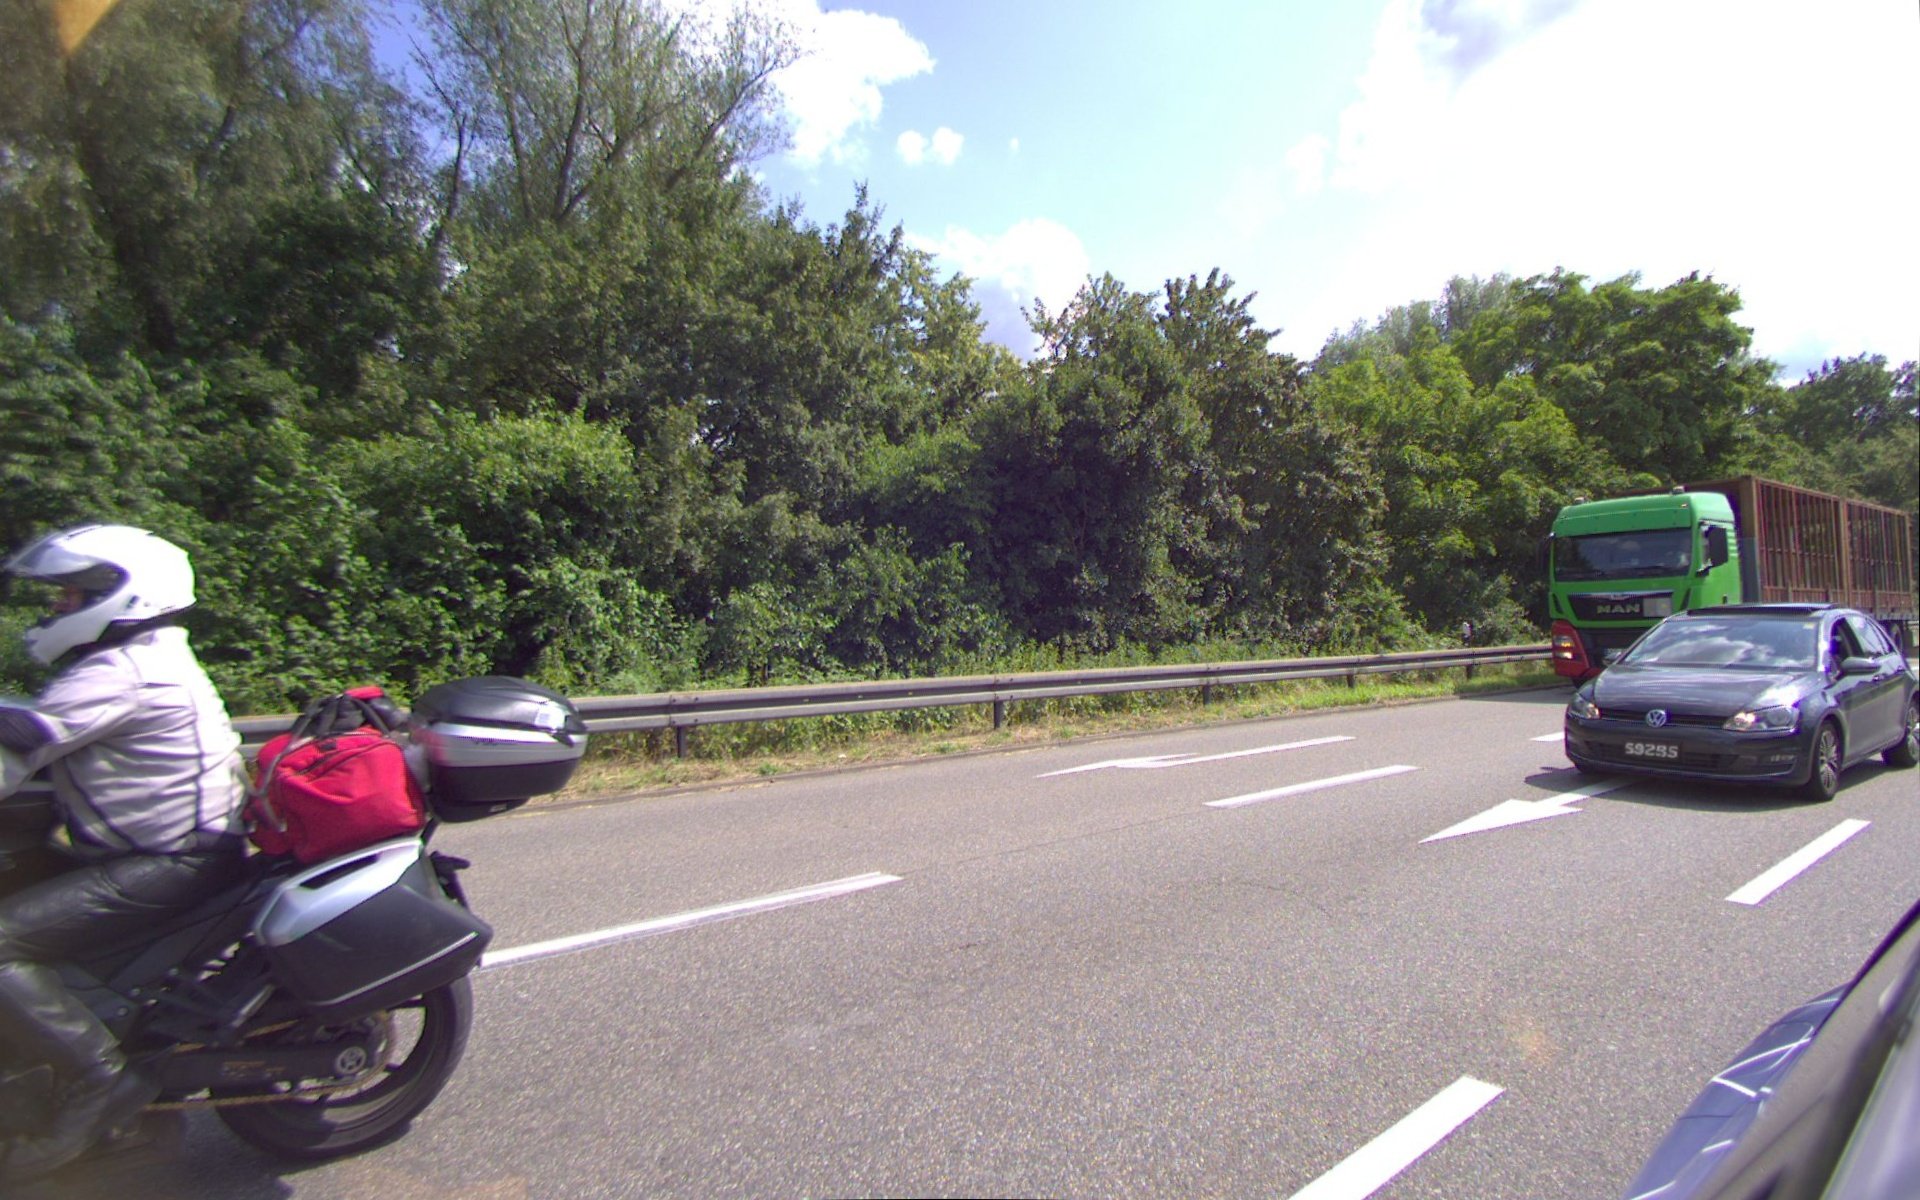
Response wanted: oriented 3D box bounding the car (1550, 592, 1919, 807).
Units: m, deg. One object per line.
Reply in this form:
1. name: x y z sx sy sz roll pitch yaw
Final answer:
1. car: 7.066 0.700 8.924 3.970 1.495 1.736 0 -1 -36

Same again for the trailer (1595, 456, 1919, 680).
1. trailer: 19.052 -0.520 23.076 14.230 3.944 2.591 0 -3 -37

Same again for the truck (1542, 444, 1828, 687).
1. truck: 13.831 -0.513 19.172 5.949 3.945 2.591 0 -3 -37

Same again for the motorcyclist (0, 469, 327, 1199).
1. motorcyclist: -2.082 0.608 2.377 0.879 1.722 0.867 1 -2 -41

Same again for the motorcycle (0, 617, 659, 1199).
1. motorcycle: -2.013 0.750 2.430 2.328 1.407 0.867 1 -1 -41
